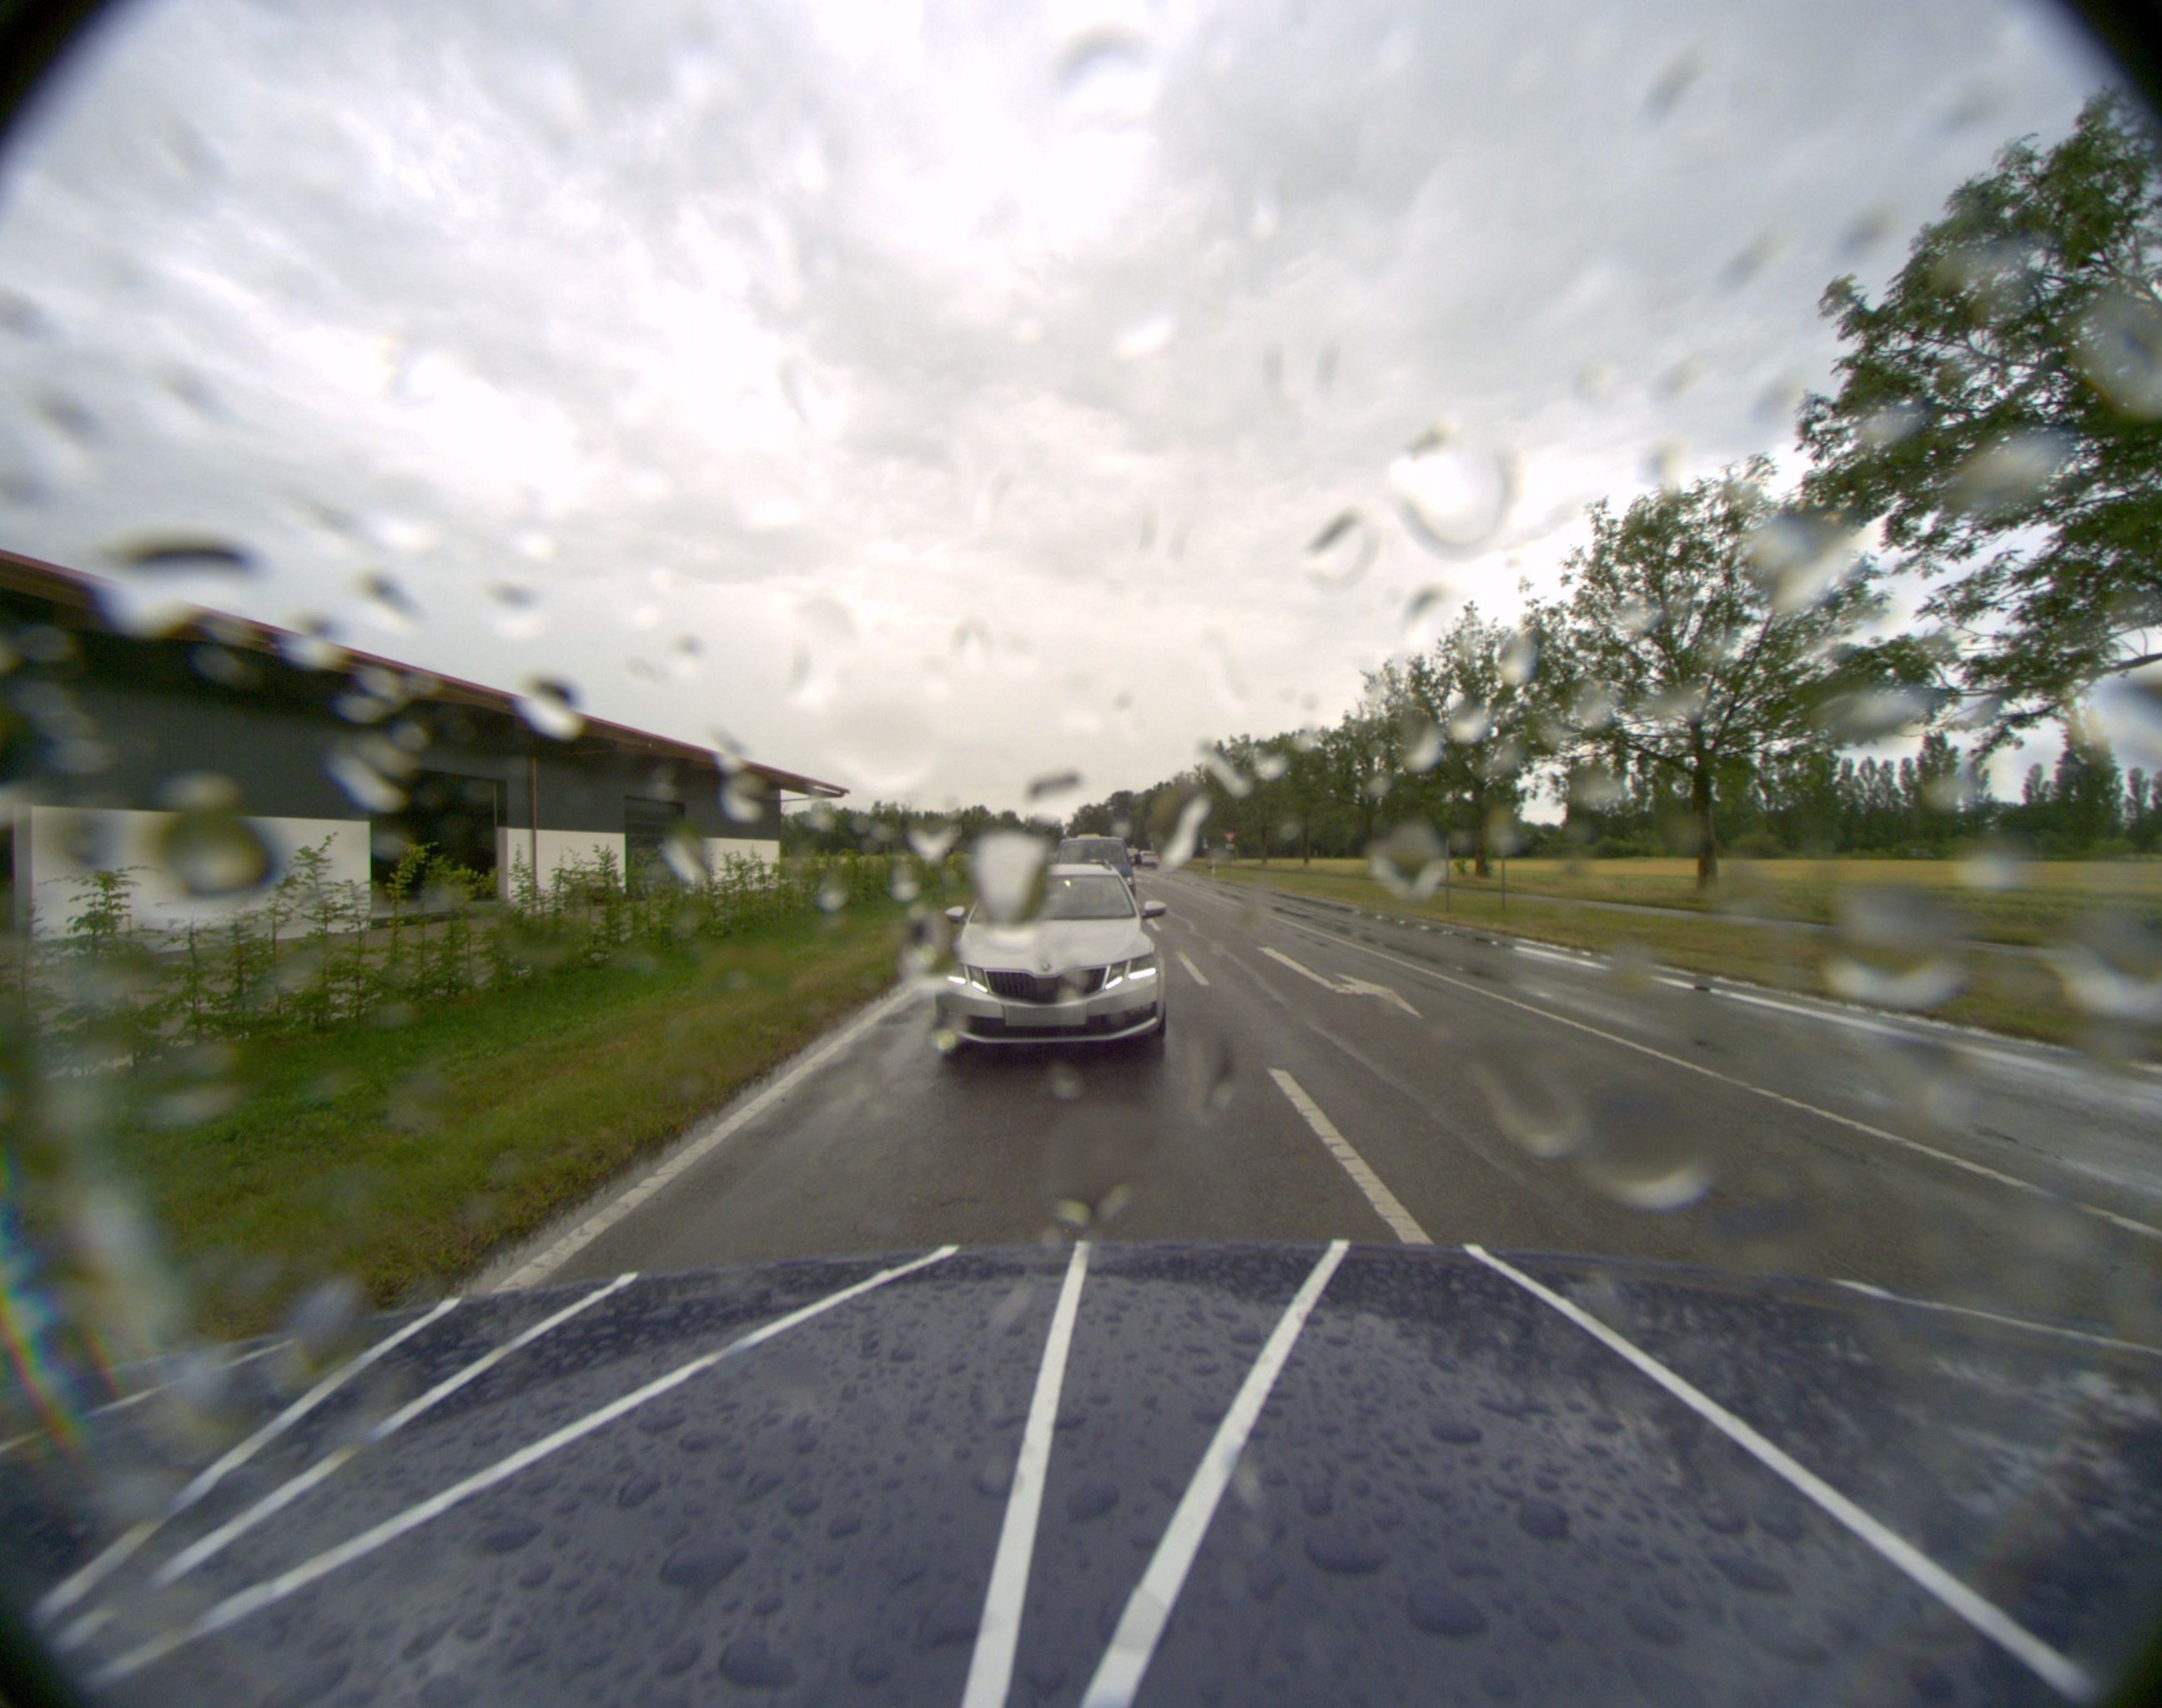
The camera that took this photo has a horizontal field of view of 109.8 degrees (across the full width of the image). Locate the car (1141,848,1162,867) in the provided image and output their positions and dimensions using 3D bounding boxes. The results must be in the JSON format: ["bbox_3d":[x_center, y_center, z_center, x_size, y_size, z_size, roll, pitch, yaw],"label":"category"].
[{"bbox_3d":[6.468,0.324,70.087,1.708,1.661,4.156,1,1,2],"label":"car"}]

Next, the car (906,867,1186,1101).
[{"bbox_3d":[-0.203,0.922,7.430,1.843,1.379,4.568,-2,1,1],"label":"car"}]

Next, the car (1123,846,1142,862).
[{"bbox_3d":[5.937,-0.018,88.516,1.921,1.851,4.684,1,1,0],"label":"car"}]

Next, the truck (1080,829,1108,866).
[{"bbox_3d":[1.503,-0.762,87.245,2.931,3.829,14.119,0,1,1],"label":"truck"}]

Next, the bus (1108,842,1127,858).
[{"bbox_3d":[7.016,-0.853,147.660,2.958,2.895,12.472,0,1,0],"label":"bus"}]

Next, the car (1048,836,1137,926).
[{"bbox_3d":[0.274,0.559,18.353,1.892,1.939,4.000,0,1,1],"label":"car"}]

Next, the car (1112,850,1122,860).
[{"bbox_3d":[5.693,0.124,120.994,1.504,1.521,3.301,1,1,2],"label":"car"}]
